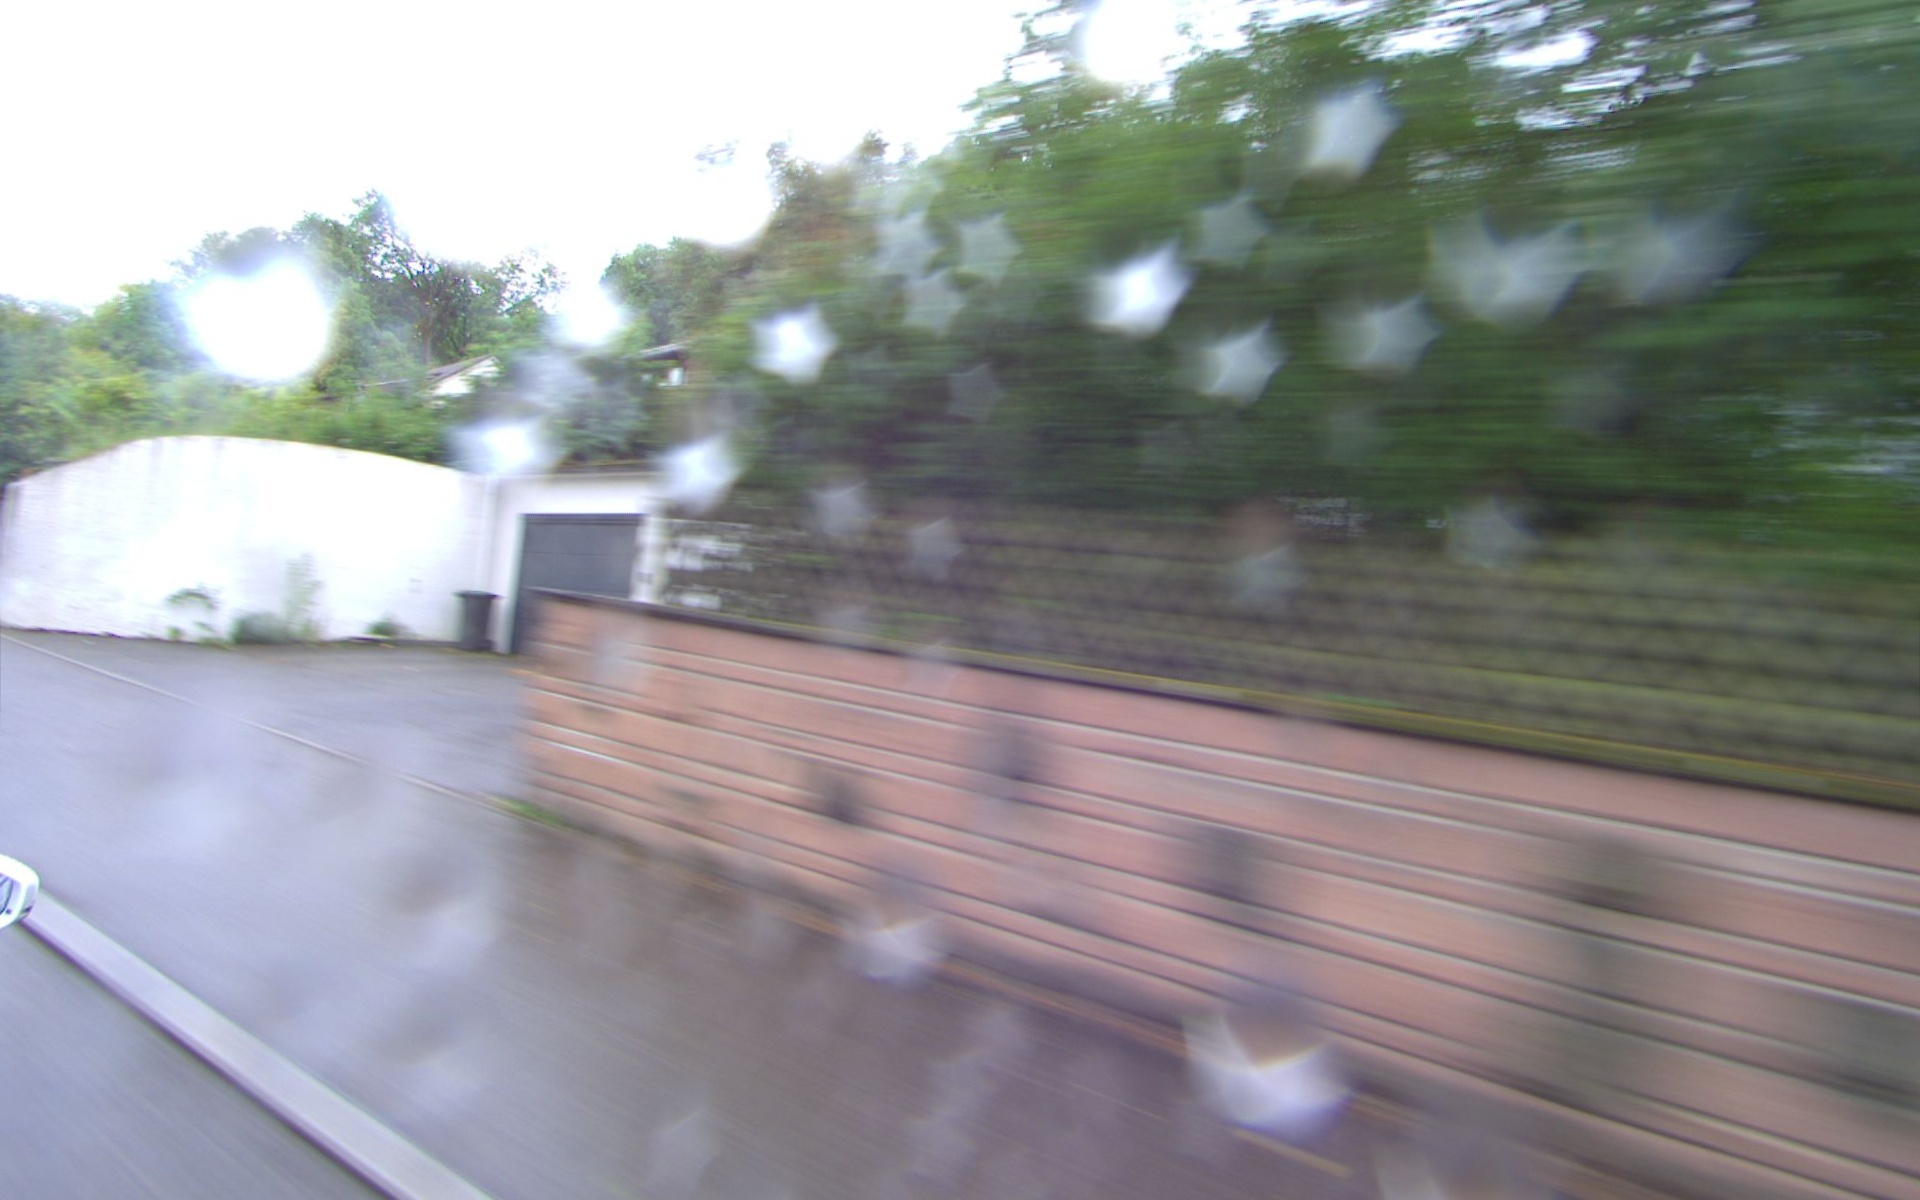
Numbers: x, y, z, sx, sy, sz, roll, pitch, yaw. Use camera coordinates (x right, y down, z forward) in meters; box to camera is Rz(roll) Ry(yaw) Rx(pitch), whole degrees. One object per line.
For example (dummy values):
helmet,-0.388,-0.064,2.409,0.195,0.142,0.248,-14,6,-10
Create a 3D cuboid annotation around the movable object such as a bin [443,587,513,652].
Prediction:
movable object such as a bin,-7.492,0.310,15.631,0.640,0.903,0.637,7,-1,29
